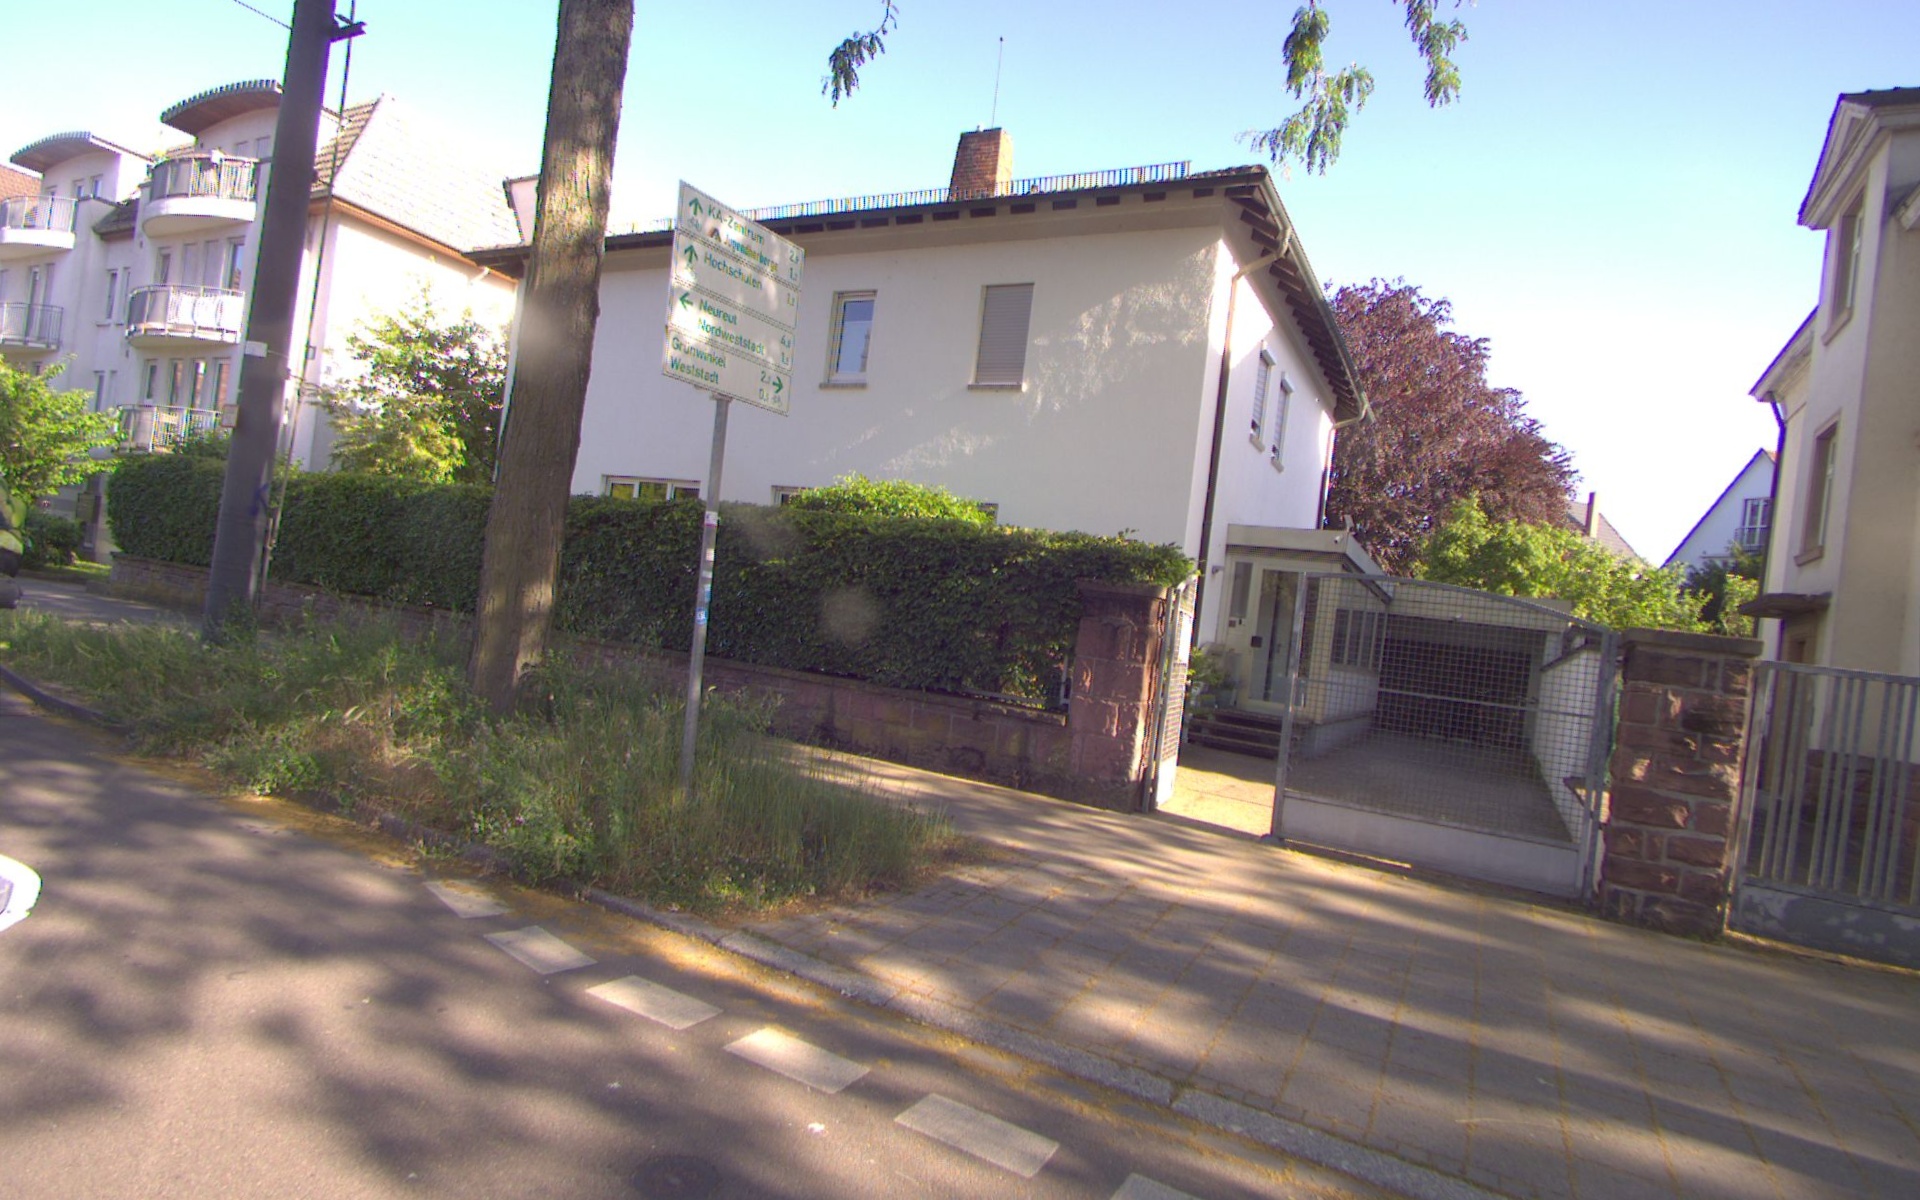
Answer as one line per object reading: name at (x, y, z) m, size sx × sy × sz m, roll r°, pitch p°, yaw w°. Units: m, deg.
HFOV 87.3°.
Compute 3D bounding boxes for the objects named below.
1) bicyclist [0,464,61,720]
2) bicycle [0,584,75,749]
bicyclist at (-6.677, -0.090, 6.720) m, size 0.733 × 1.678 × 0.677 m, roll 7°, pitch 0°, yaw 31°
bicycle at (-6.740, 0.366, 6.715) m, size 1.854 × 0.936 × 0.677 m, roll 7°, pitch -1°, yaw 32°
